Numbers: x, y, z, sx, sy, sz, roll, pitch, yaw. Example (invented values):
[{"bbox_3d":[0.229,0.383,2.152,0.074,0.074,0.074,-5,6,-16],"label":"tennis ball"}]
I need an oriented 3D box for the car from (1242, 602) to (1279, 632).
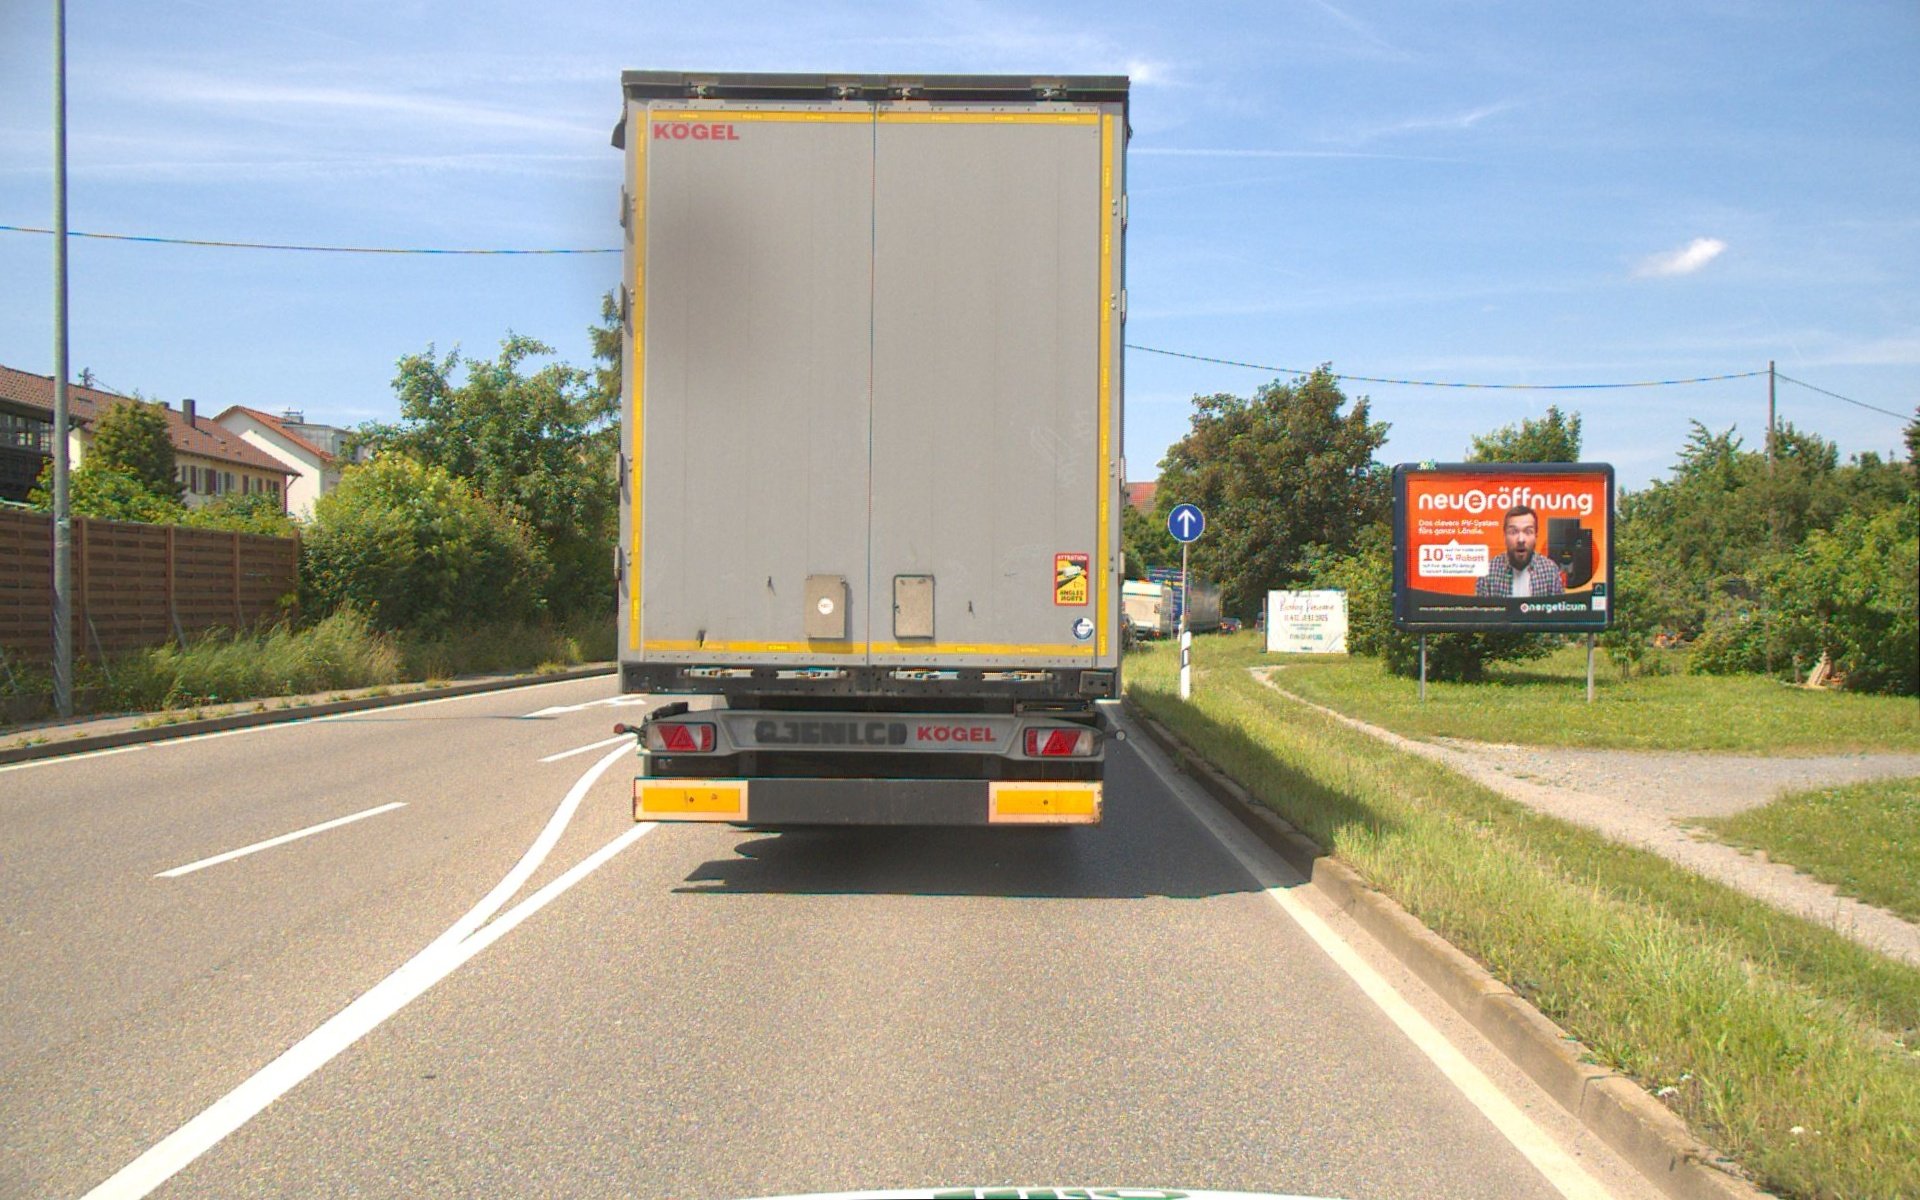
[{"bbox_3d":[21.743,1.240,119.551,1.952,2.049,4.001,1,-1,19],"label":"car"}]

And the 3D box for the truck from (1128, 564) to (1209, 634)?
[{"bbox_3d":[11.806,-0.110,92.789,3.360,3.667,9.361,1,1,14],"label":"truck"}]

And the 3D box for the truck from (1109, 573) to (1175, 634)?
[{"bbox_3d":[9.043,0.218,81.719,2.489,2.852,6.036,1,-1,13],"label":"truck"}]

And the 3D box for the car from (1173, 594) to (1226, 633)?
[{"bbox_3d":[14.811,0.792,101.933,2.478,2.317,6.386,1,0,15],"label":"car"}]

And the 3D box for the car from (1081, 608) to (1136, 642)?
[{"bbox_3d":[6.486,1.096,71.910,1.951,1.400,4.003,1,-1,11],"label":"car"}]

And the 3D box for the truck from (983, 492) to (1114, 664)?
[{"bbox_3d":[3.028,-0.461,50.532,2.701,4.364,16.427,1,-1,7],"label":"truck"}]

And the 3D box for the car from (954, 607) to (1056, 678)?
[{"bbox_3d":[1.008,0.871,34.963,1.780,1.370,3.850,1,-1,7],"label":"car"}]

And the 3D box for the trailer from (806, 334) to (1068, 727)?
[{"bbox_3d":[-0.142,-0.765,20.968,2.766,4.183,6.546,1,0,2],"label":"trailer"}]

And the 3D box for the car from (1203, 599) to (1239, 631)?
[{"bbox_3d":[17.651,1.034,111.739,1.951,2.049,4.003,1,-1,15],"label":"car"}]

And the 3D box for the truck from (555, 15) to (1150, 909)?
[{"bbox_3d":[-0.356,-0.698,13.575,2.763,4.200,11.446,1,0,2],"label":"truck"}]
